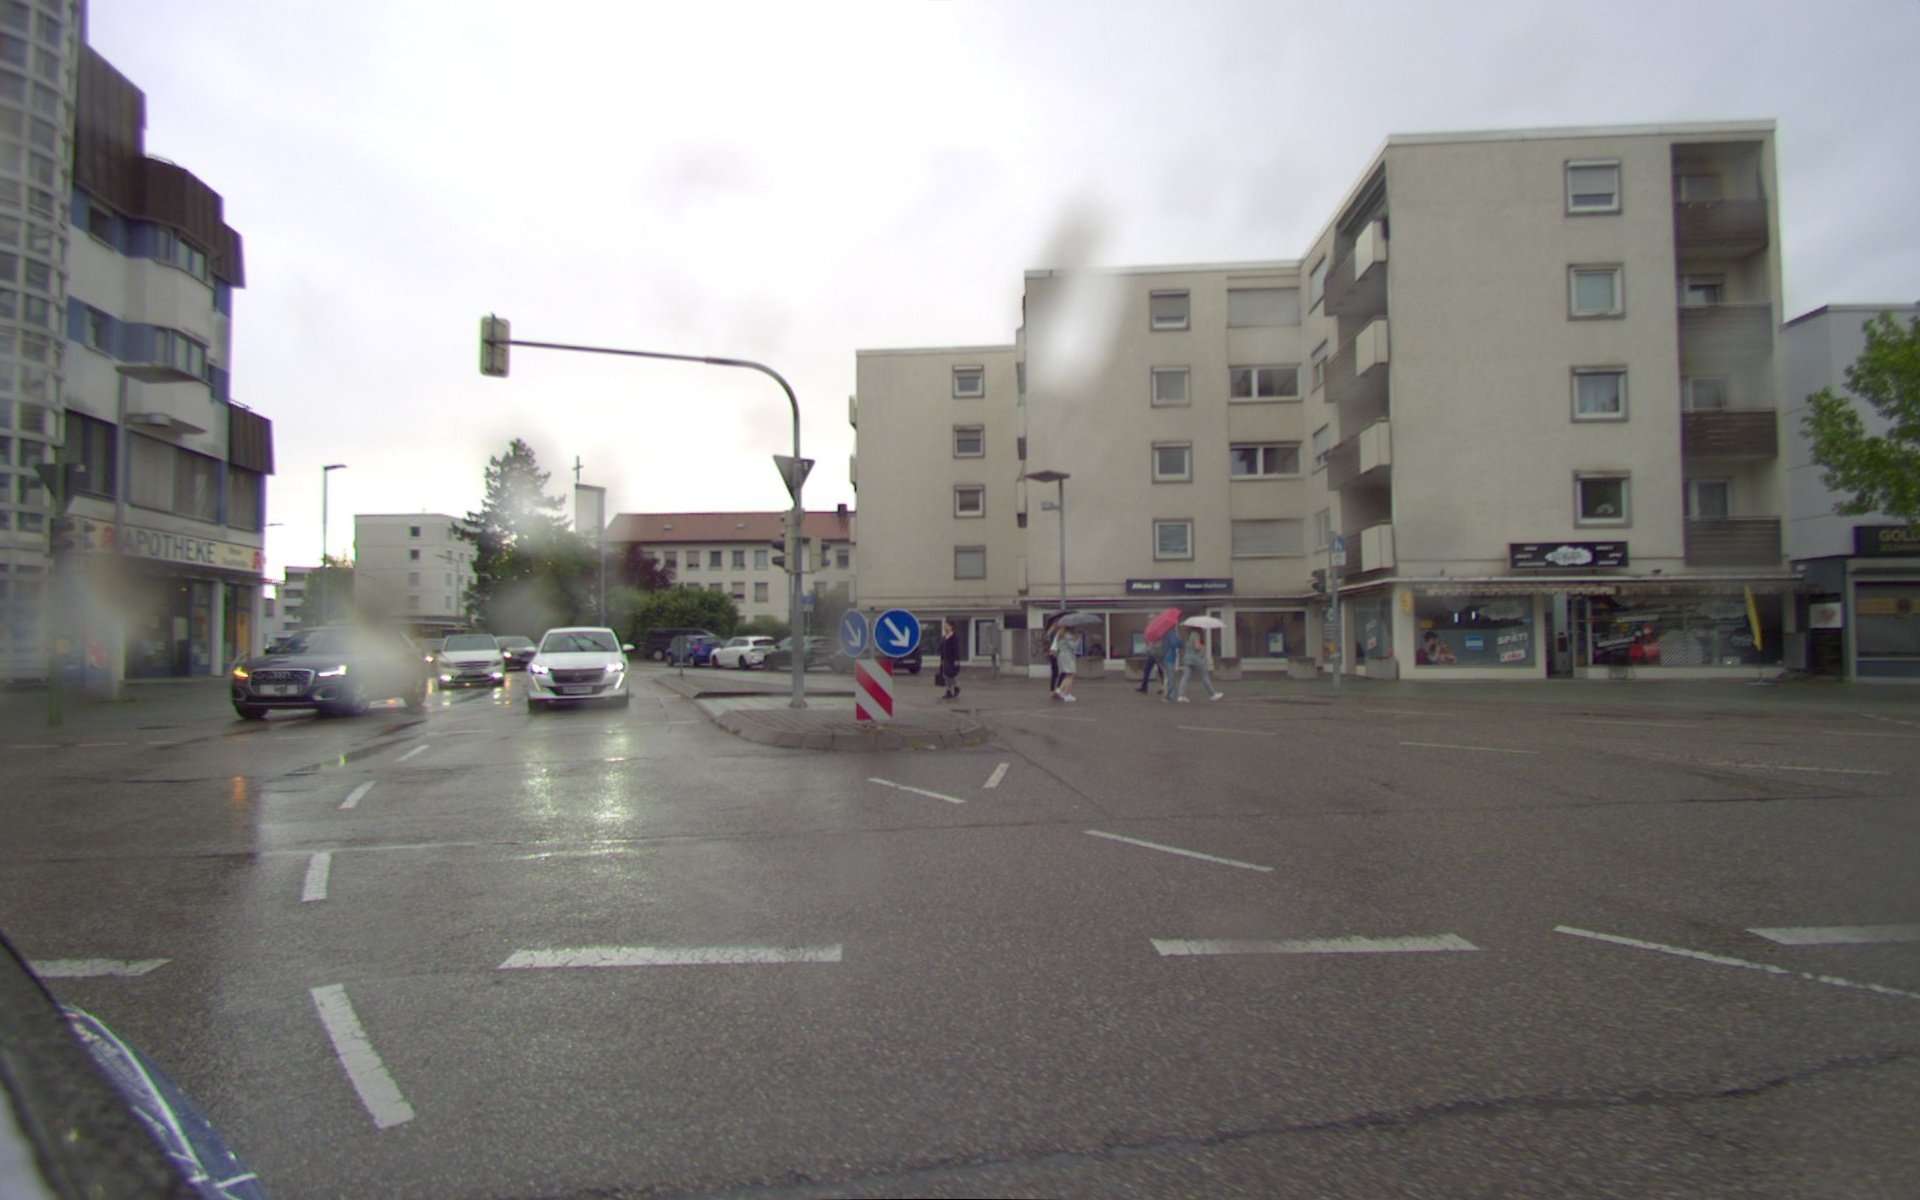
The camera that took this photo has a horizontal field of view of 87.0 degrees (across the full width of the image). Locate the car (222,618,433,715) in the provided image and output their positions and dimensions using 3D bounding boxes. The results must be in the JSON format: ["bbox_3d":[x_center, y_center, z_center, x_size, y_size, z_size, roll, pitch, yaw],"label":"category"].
[{"bbox_3d":[-10.812,1.069,17.654,1.707,1.455,4.055,-1,-1,-10],"label":"car"}]

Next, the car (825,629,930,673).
[{"bbox_3d":[-3.093,1.853,37.266,1.808,1.471,4.195,0,-2,-39],"label":"car"}]

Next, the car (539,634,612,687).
[{"bbox_3d":[-11.702,1.787,30.674,1.721,1.466,3.826,1,-2,-26],"label":"car"}]

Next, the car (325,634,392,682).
[{"bbox_3d":[-18.618,1.792,31.324,1.627,1.382,3.742,4,-4,-31],"label":"car"}]

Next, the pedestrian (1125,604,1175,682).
[{"bbox_3d":[4.170,0.950,22.198,0.704,1.668,0.816,2,-3,-42],"label":"pedestrian"}]

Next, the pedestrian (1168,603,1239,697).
[{"bbox_3d":[4.508,0.911,18.779,0.922,1.690,0.919,0,-2,-18],"label":"pedestrian"}]

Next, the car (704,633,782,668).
[{"bbox_3d":[-9.803,2.246,45.474,1.611,1.511,4.354,1,-3,-39],"label":"car"}]

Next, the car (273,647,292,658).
[{"bbox_3d":[-93.619,7.265,139.889,1.842,1.448,3.747,1,-3,-39],"label":"car"}]

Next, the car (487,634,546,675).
[{"bbox_3d":[-19.224,2.332,43.814,1.966,1.627,4.012,-1,-2,-29],"label":"car"}]

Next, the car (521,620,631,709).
[{"bbox_3d":[-7.159,1.163,18.968,1.714,1.420,3.908,-2,-2,-20],"label":"car"}]

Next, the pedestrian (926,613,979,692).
[{"bbox_3d":[-0.155,1.075,21.012,0.648,1.597,0.914,2,-3,-45],"label":"pedestrian"}]

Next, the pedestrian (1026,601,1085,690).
[{"bbox_3d":[1.937,0.917,20.506,0.822,1.749,0.957,1,-2,-24],"label":"pedestrian"}]

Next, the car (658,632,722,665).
[{"bbox_3d":[-13.272,2.353,49.662,1.608,1.517,3.888,1,-3,-39],"label":"car"}]

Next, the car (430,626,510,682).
[{"bbox_3d":[-14.577,1.597,30.267,1.705,1.540,4.076,0,-3,-20],"label":"car"}]

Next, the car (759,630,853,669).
[{"bbox_3d":[-6.356,2.003,41.431,1.808,1.445,4.281,0,-2,-40],"label":"car"}]

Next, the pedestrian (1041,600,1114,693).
[{"bbox_3d":[2.260,0.888,19.560,1.118,1.757,0.863,0,-2,-21],"label":"pedestrian"}]

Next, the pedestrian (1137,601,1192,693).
[{"bbox_3d":[3.903,0.891,19.319,0.662,1.698,0.809,1,-2,-27],"label":"pedestrian"}]
